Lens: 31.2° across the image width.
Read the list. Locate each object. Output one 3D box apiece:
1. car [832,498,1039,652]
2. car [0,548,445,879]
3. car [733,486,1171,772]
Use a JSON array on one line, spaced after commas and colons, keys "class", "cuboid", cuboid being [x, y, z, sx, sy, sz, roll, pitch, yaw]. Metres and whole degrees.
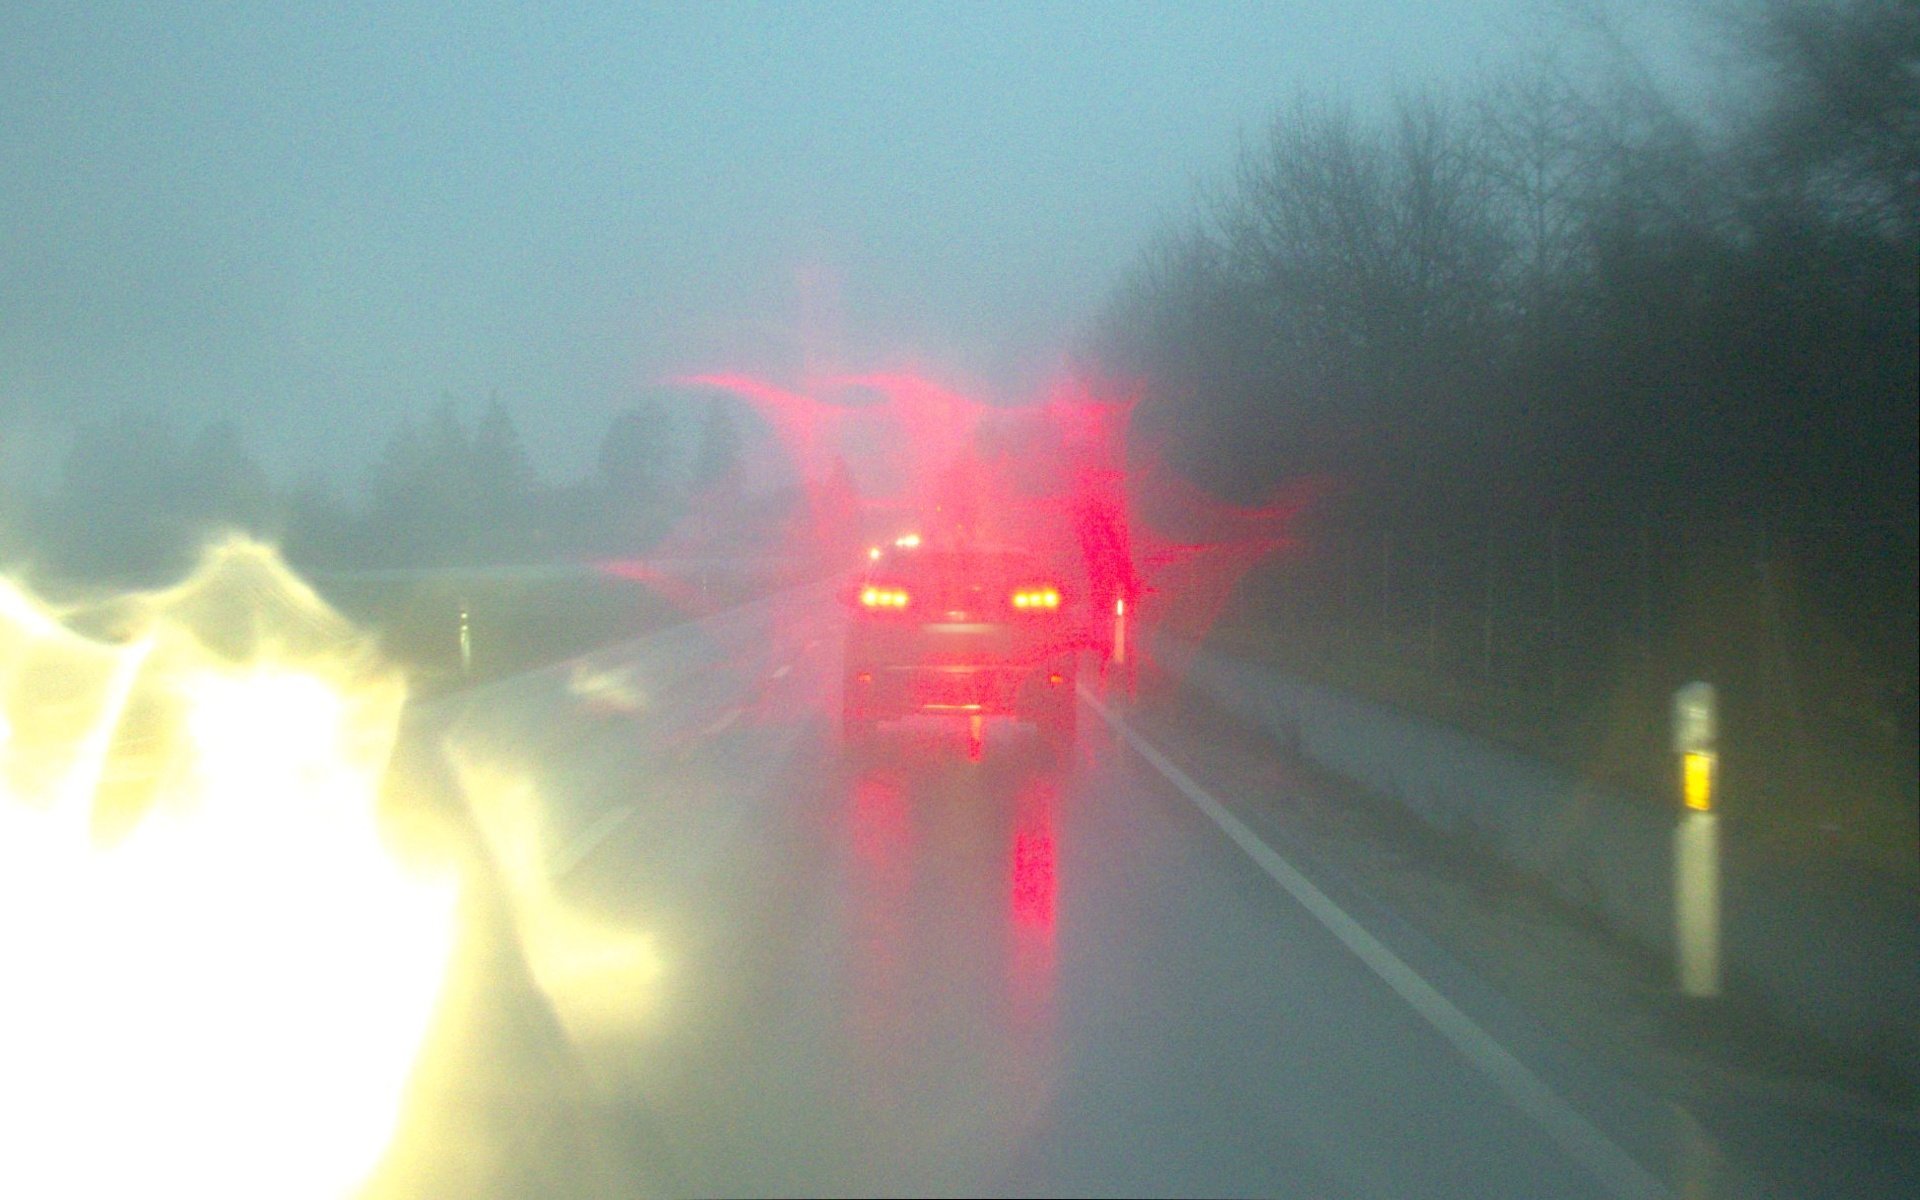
[{"class": "car", "cuboid": [-0.350, -0.406, 49.856, 2.756, 2.028, 6.591, -1, 1, 0]}, {"class": "car", "cuboid": [-4.118, 0.533, 18.481, 1.993, 1.458, 4.352, -4, 1, -1]}, {"class": "car", "cuboid": [-0.078, 0.138, 28.535, 3.164, 2.028, 6.852, -1, 1, 0]}]
